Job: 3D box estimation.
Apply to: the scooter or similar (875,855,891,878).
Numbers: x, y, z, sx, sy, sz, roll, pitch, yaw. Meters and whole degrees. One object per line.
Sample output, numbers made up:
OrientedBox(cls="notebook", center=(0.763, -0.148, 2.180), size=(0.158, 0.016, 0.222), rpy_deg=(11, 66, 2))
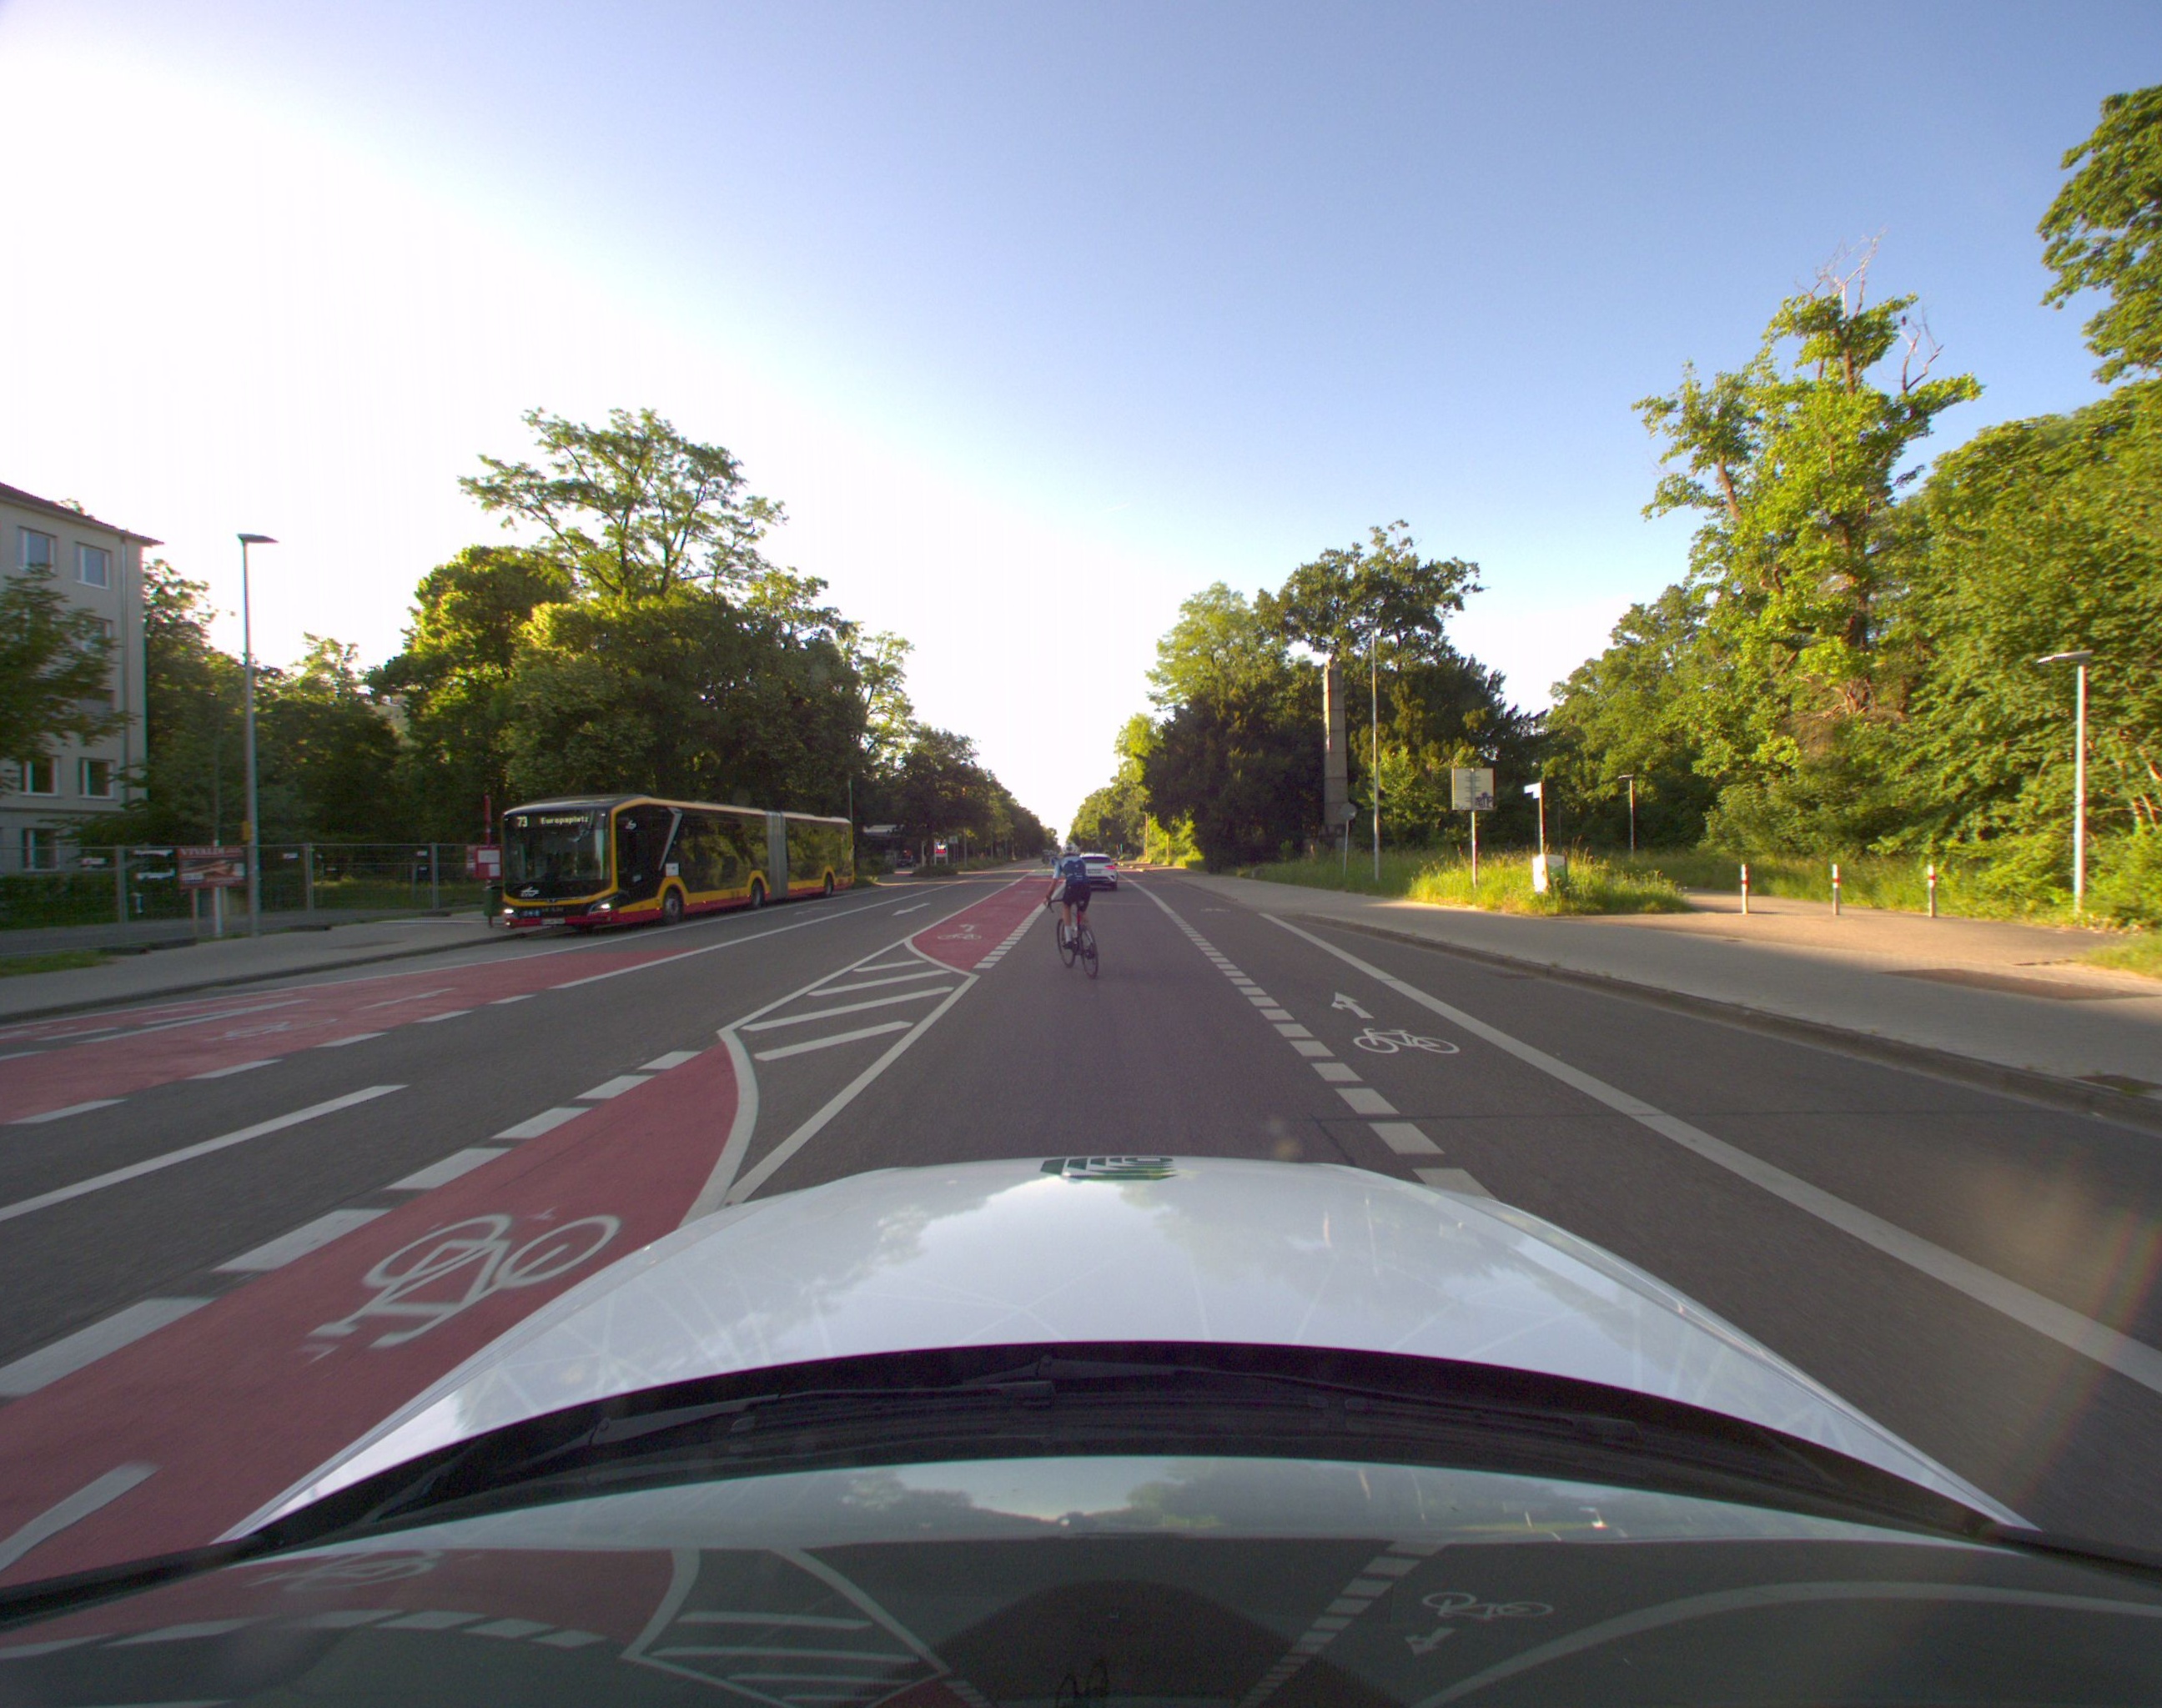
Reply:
OrientedBox(cls="scooter or similar", center=(-15.612, 0.976, 64.217), size=(0.825, 1.717, 1.741), rpy_deg=(-1, 0, 0))

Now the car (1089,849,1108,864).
OrientedBox(cls="car", center=(1.879, 0.256, 90.232), size=(1.987, 1.519, 3.999), rpy_deg=(-2, 0, 0))

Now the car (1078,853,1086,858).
OrientedBox(cls="car", center=(0.303, 0.416, 229.871), size=(1.990, 1.327, 3.994), rpy_deg=(-1, 0, -4))

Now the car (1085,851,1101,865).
OrientedBox(cls="car", center=(1.358, 0.433, 90.294), size=(1.669, 1.417, 3.576), rpy_deg=(-2, 0, 3))

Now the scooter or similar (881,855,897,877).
OrientedBox(cls="scooter or similar", center=(-15.563, 0.982, 66.160), size=(0.825, 1.717, 1.741), rpy_deg=(-1, 0, 0))

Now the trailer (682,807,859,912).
OrientedBox(cls="trailer", center=(-11.305, 0.192, 30.965), size=(2.844, 3.355, 9.366), rpy_deg=(1, 0, 2))

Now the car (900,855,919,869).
OrientedBox(cls="car", center=(-21.917, 0.986, 104.185), size=(1.708, 1.691, 4.446), rpy_deg=(-2, 0, -5))

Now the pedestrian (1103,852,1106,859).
OrientedBox(cls="pedestrian", center=(5.590, 0.398, 196.591), size=(0.696, 1.653, 0.876), rpy_deg=(-1, 0, -2))

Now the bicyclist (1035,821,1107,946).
OrientedBox(cls="bicyclist", center=(-0.113, 0.364, 10.606), size=(0.856, 1.567, 0.882), rpy_deg=(0, 0, 4))

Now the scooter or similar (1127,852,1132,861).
OrientedBox(cls="scooter or similar", center=(7.871, 0.365, 131.929), size=(0.680, 1.423, 1.681), rpy_deg=(-1, 0, -1))

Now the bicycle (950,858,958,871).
OrientedBox(cls="bicycle", center=(-12.456, 1.006, 80.029), size=(0.653, 1.250, 2.155), rpy_deg=(-1, 0, -6))

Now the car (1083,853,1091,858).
OrientedBox(cls="car", center=(1.562, 0.417, 214.204), size=(1.988, 1.327, 3.998), rpy_deg=(-1, 0, -1))

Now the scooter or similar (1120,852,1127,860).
OrientedBox(cls="scooter or similar", center=(7.327, 0.362, 139.620), size=(0.683, 1.423, 1.672), rpy_deg=(-1, 0, -16))

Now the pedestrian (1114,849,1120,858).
OrientedBox(cls="pedestrian", center=(6.181, -0.046, 139.314), size=(0.755, 1.563, 0.799), rpy_deg=(-2, 0, -10))

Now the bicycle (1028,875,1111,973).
OrientedBox(cls="bicycle", center=(-0.102, 0.855, 10.721), size=(0.887, 1.095, 2.139), rpy_deg=(0, 0, 5))

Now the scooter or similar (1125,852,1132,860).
OrientedBox(cls="scooter or similar", center=(7.893, 0.353, 135.881), size=(0.683, 1.423, 1.673), rpy_deg=(-1, 0, -14))

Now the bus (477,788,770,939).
OrientedBox(cls="bus", center=(-11.595, 0.194, 22.027), size=(2.830, 3.196, 8.601), rpy_deg=(-2, 0, 1))

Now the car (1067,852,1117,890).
OrientedBox(cls="car", center=(0.401, 0.667, 33.681), size=(1.758, 1.459, 3.812), rpy_deg=(0, 0, -4))

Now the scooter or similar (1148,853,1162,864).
OrientedBox(cls="scooter or similar", center=(8.024, 0.482, 88.318), size=(1.550, 1.250, 0.528), rpy_deg=(-1, 0, -44))
